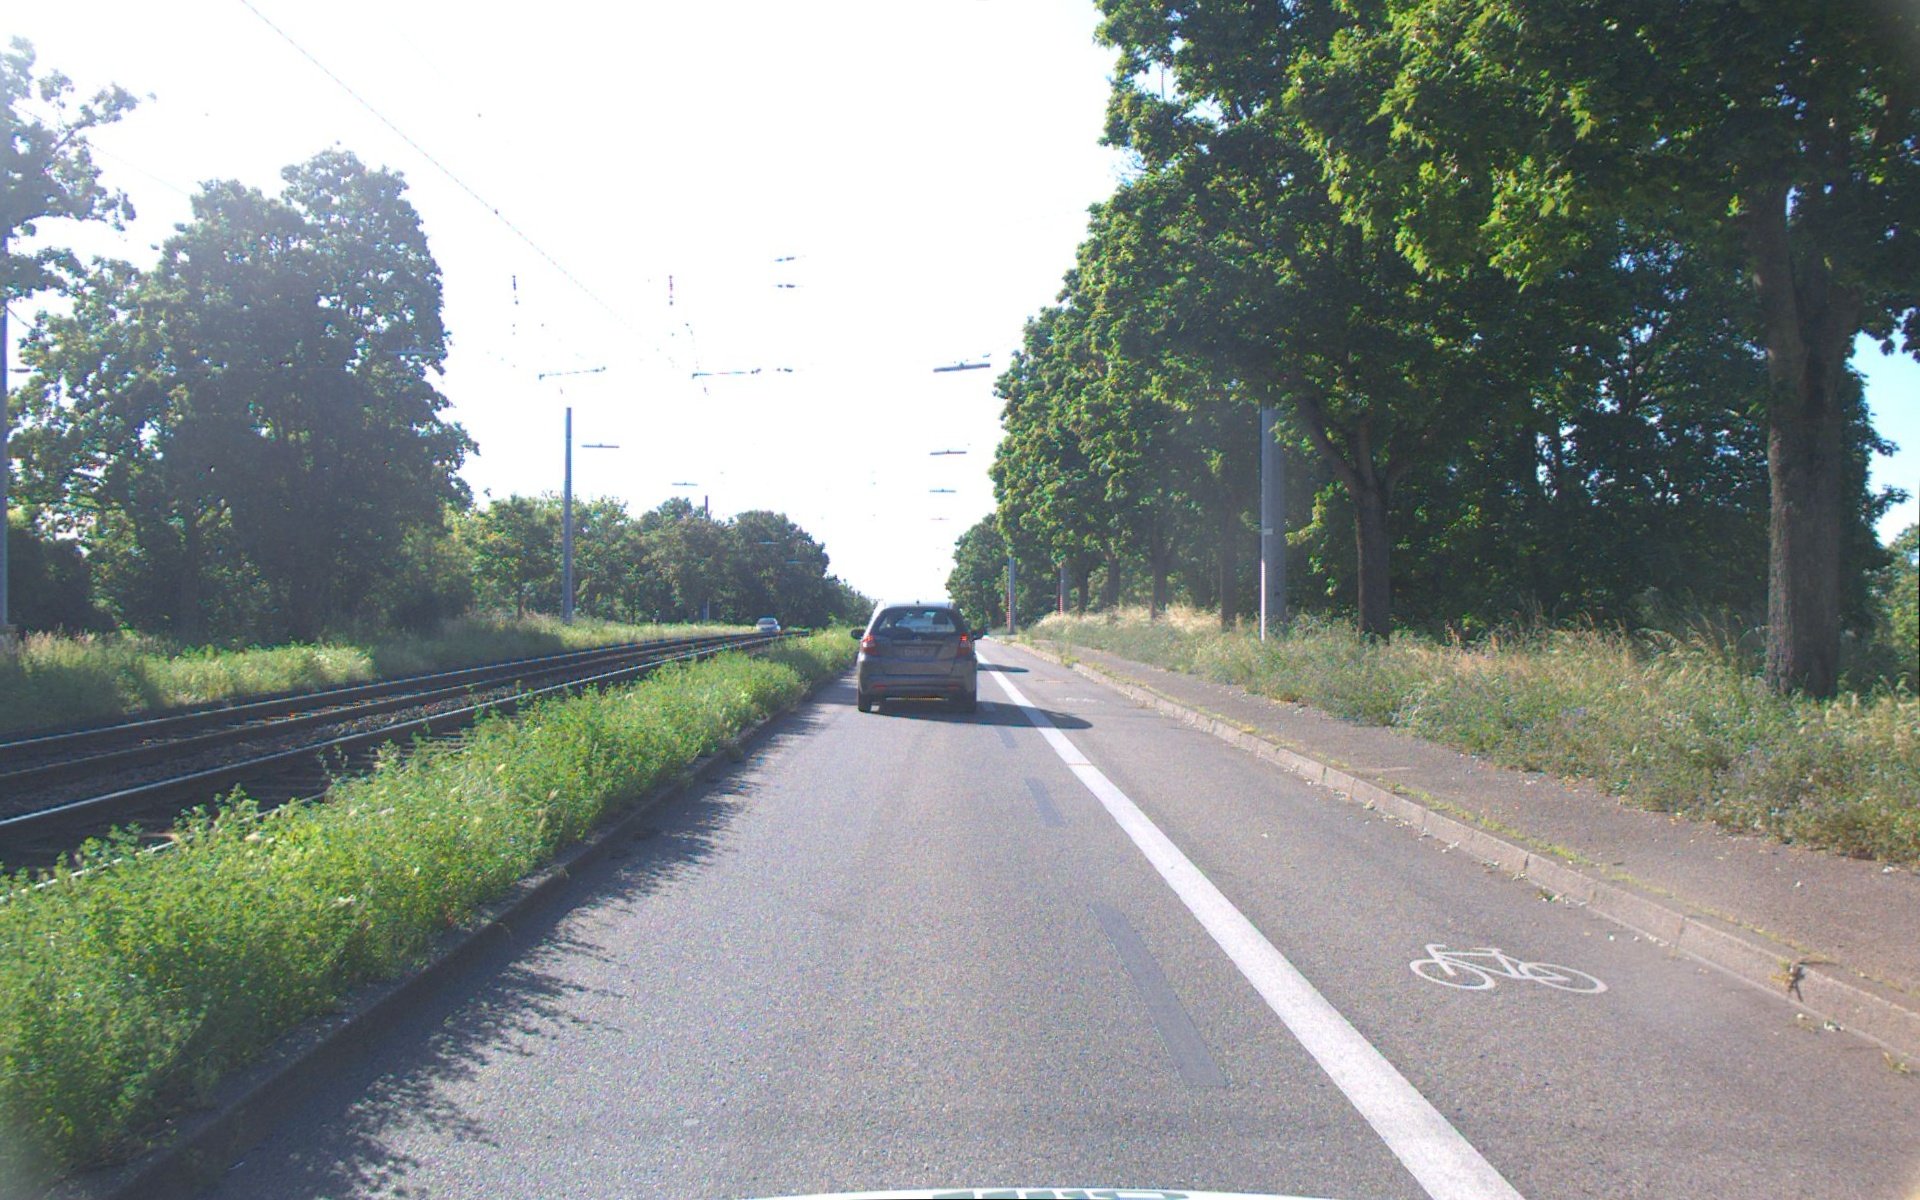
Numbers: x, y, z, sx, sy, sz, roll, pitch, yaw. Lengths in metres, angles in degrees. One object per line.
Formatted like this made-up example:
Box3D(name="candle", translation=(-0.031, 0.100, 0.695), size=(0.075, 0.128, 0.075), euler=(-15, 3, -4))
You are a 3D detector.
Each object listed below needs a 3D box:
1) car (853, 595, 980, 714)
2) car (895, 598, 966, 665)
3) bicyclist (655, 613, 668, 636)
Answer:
Box3D(name="car", translation=(-0.590, 0.730, 23.829), size=(1.636, 1.534, 3.810), euler=(1, 0, -1))
Box3D(name="car", translation=(-0.707, 0.738, 40.736), size=(1.621, 1.534, 3.810), euler=(1, 0, -1))
Box3D(name="bicyclist", translation=(-17.554, 1.439, 97.261), size=(0.570, 1.333, 0.987), euler=(1, 0, -1))
